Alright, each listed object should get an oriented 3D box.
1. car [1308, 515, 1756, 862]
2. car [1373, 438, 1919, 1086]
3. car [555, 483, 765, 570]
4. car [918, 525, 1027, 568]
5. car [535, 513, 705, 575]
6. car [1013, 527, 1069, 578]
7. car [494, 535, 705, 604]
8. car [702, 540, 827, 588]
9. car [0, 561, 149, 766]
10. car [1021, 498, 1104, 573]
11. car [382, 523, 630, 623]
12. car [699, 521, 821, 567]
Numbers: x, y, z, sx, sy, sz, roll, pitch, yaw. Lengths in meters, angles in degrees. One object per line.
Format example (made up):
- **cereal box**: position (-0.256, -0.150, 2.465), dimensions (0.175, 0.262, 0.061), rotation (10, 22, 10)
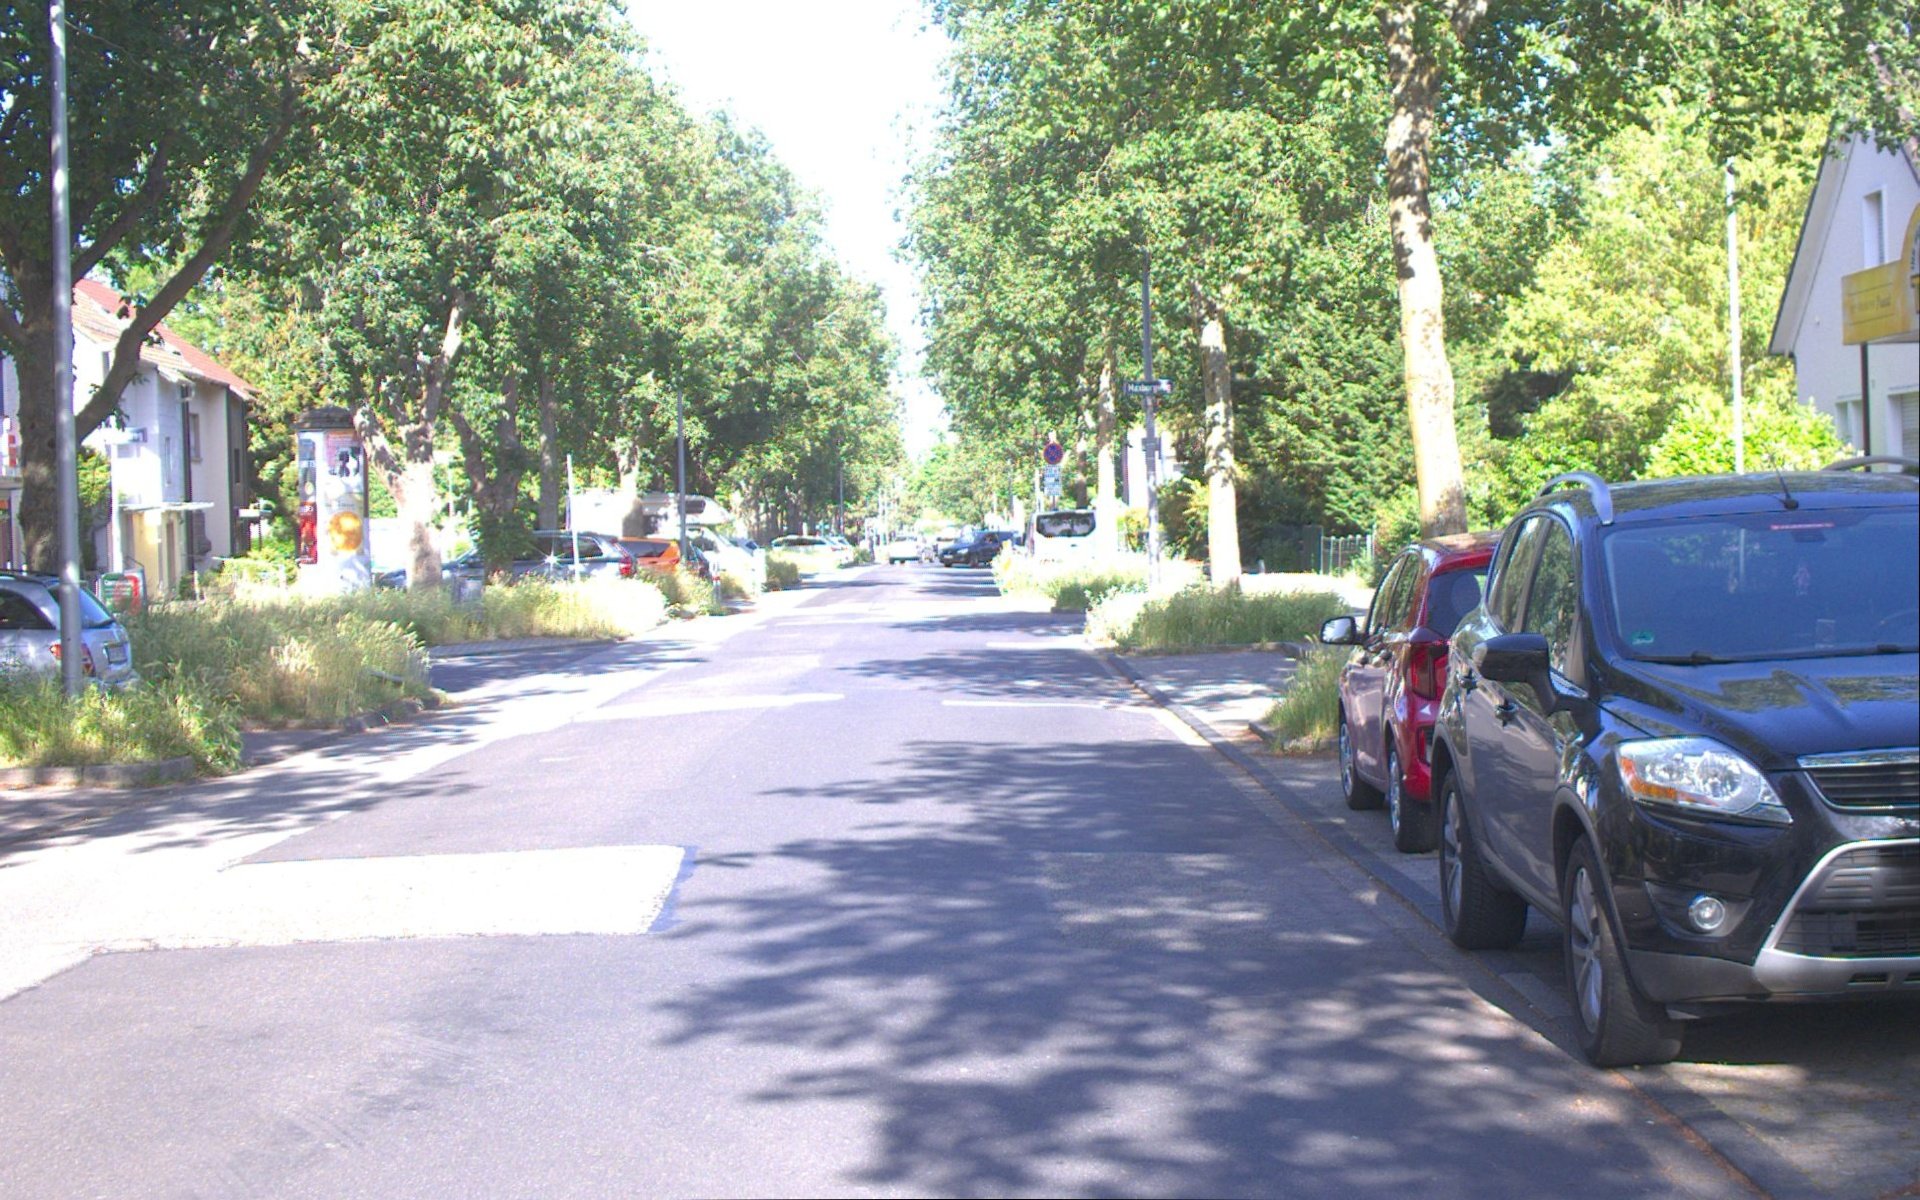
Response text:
- **car**: position (2.788, 0.367, 17.516), dimensions (1.697, 1.474, 3.888), rotation (-3, 1, 2)
- **car**: position (2.580, 0.361, 11.071), dimensions (1.853, 1.620, 4.470), rotation (-3, 1, 0)
- **car**: position (-8.070, -2.001, 92.938), dimensions (5.498, 2.239, 2.517), rotation (0, 3, -1)
- **car**: position (0.502, -2.194, 141.336), dimensions (3.986, 1.638, 2.001), rotation (-2, 3, -26)
- **car**: position (-8.249, -1.363, 83.555), dimensions (3.875, 1.474, 1.894), rotation (0, 1, 3)
- **car**: position (2.859, -1.706, 122.071), dimensions (1.903, 1.768, 4.301), rotation (0, 1, 0)
- **car**: position (-7.434, -0.642, 71.216), dimensions (4.286, 1.310, 1.909), rotation (-1, 3, -4)
- **car**: position (-6.065, -1.119, 106.775), dimensions (3.702, 1.441, 1.664), rotation (0, 1, 4)
- **car**: position (-8.979, 0.492, 27.441), dimensions (4.554, 1.506, 1.841), rotation (0, 3, 0)
- **car**: position (2.478, -1.579, 83.886), dimensions (1.903, 1.768, 4.301), rotation (0, 1, 0)
- **car**: position (-8.568, -0.532, 65.174), dimensions (4.545, 1.759, 2.001), rotation (-1, 3, -4)
- **car**: position (-6.362, -1.788, 109.462), dimensions (3.702, 1.441, 1.664), rotation (0, 1, 4)
